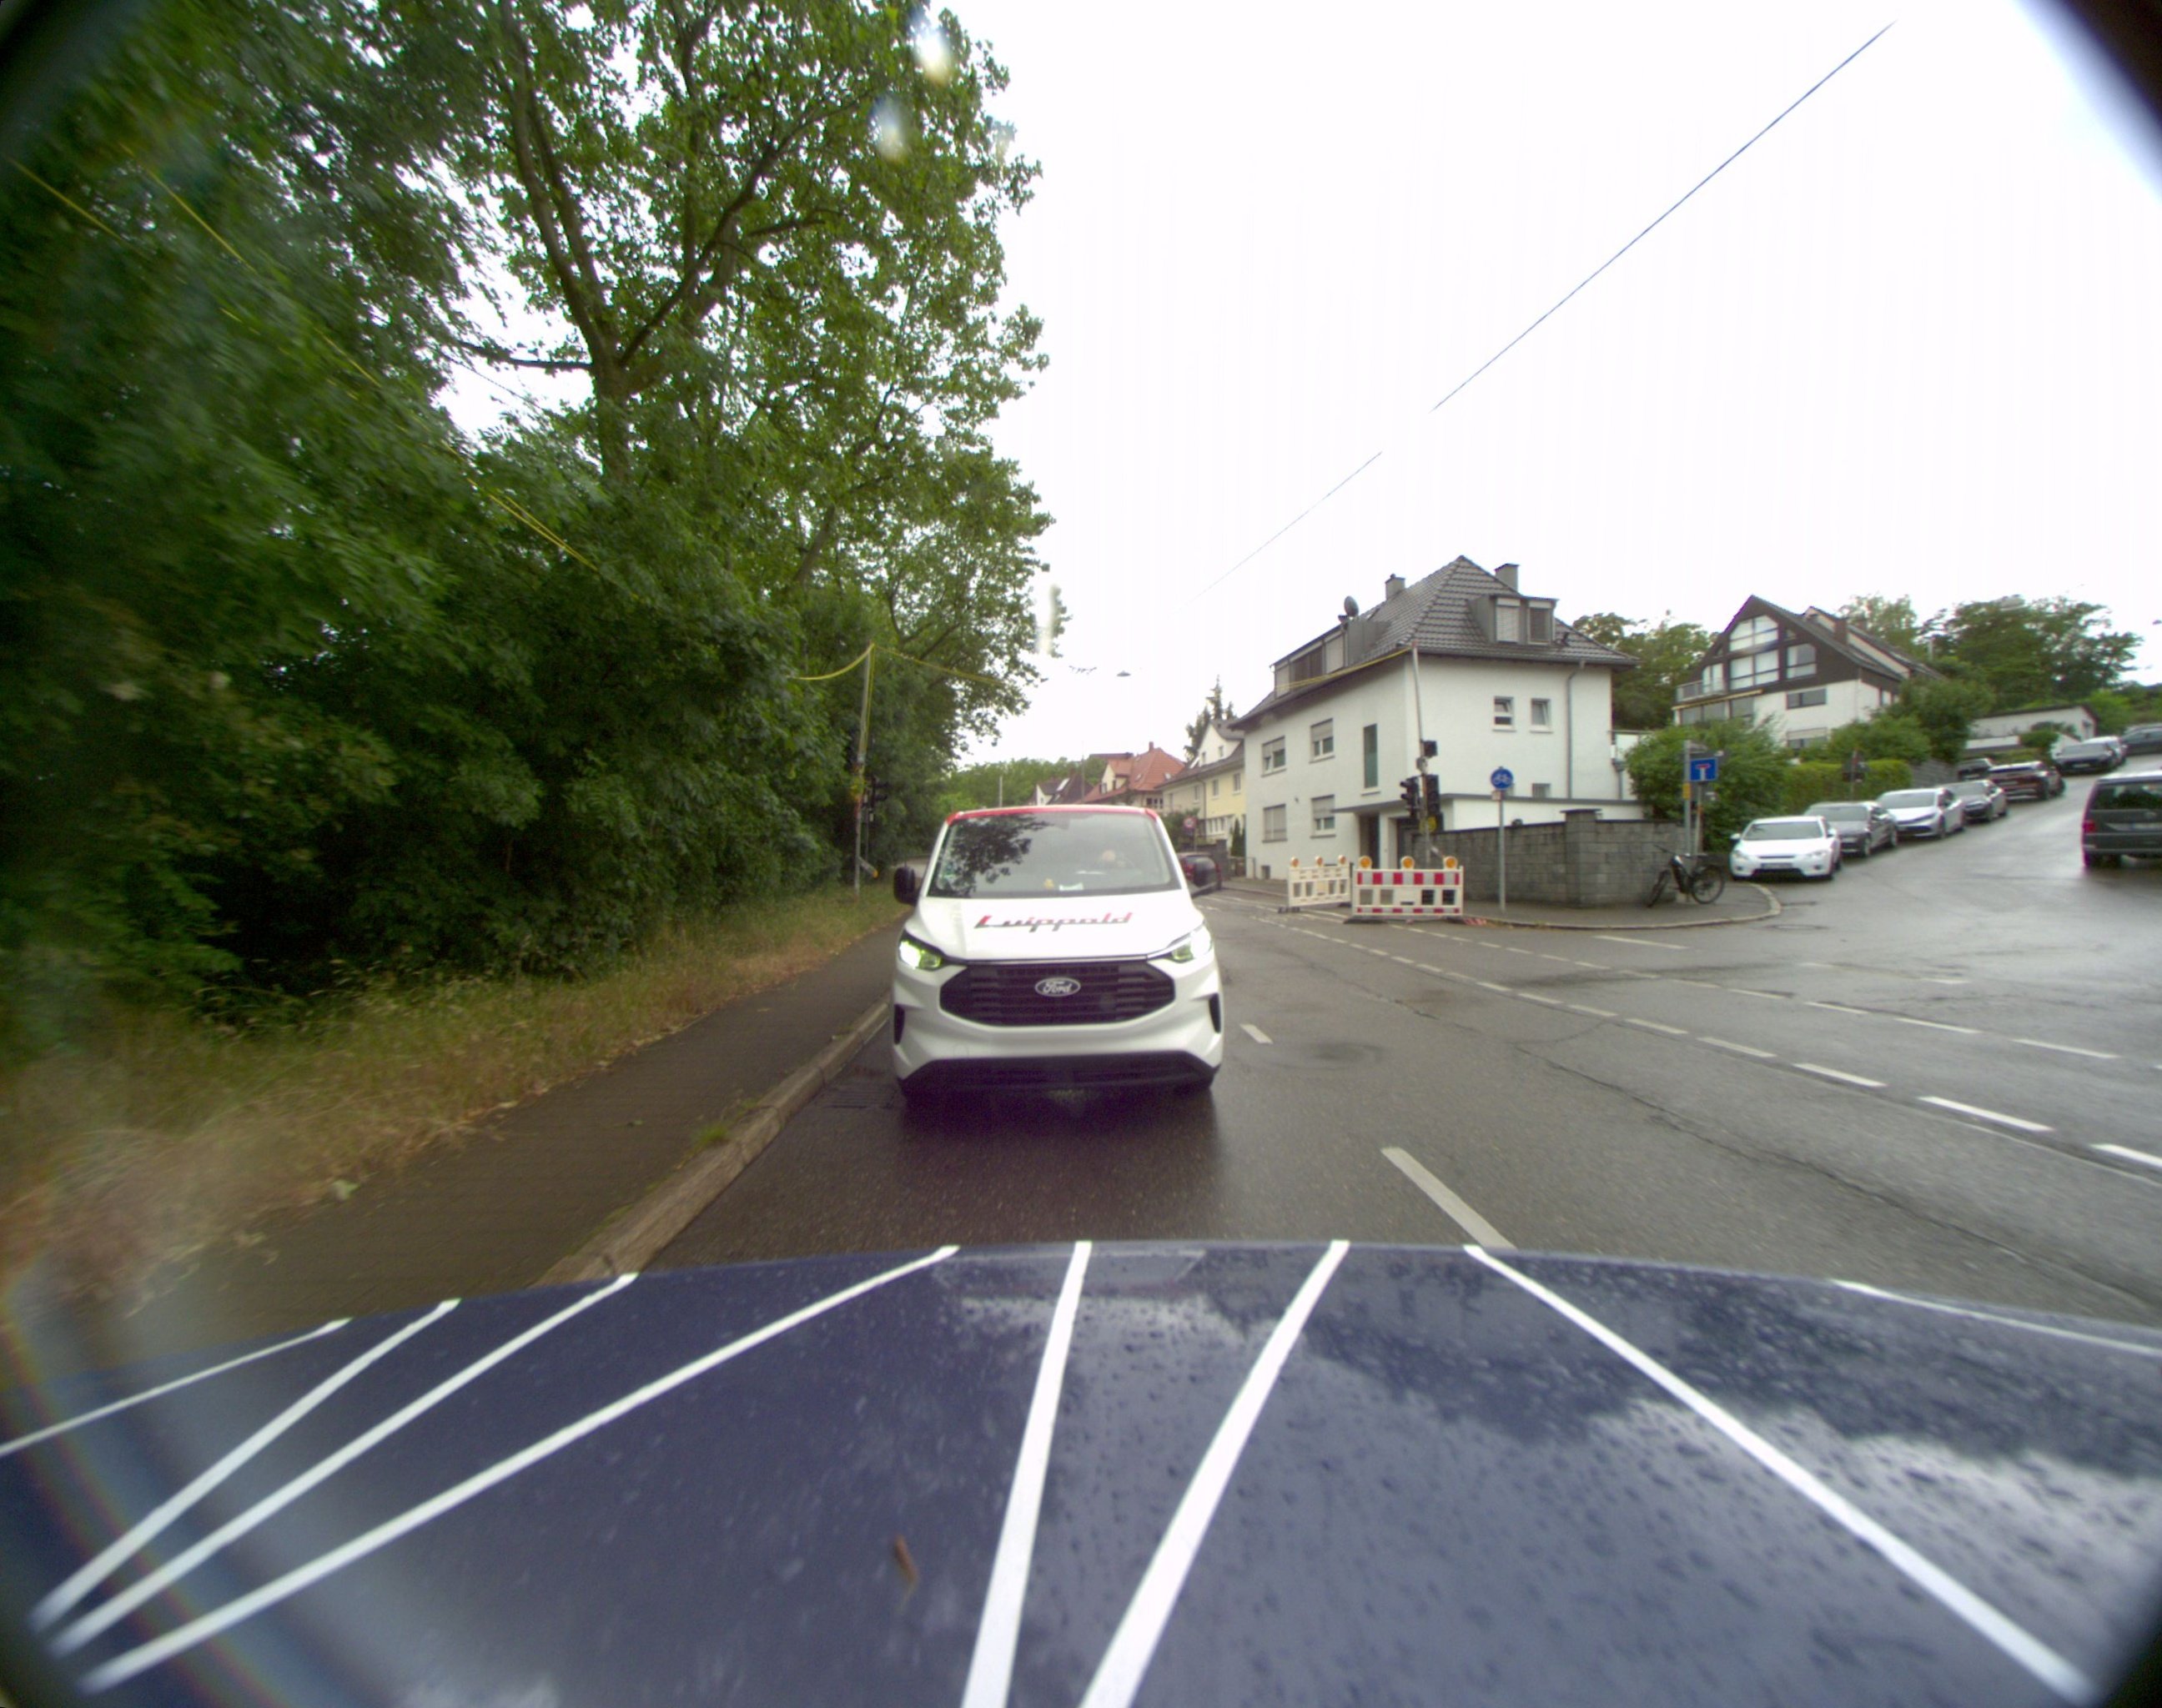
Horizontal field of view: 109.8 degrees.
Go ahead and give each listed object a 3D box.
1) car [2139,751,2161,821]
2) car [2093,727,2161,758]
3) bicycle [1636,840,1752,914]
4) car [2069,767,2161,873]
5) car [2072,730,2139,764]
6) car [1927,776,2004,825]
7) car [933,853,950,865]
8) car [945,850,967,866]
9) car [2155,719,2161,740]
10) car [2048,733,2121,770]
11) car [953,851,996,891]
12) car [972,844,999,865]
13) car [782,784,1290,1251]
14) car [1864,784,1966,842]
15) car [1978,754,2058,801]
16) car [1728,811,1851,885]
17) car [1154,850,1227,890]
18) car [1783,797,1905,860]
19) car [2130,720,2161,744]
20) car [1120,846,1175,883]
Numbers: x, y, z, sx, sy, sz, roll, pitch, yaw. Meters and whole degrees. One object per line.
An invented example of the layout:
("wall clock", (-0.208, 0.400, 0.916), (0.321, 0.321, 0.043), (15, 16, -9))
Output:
("car", (33.043, -2.111, 22.373), (3.416, 1.827, 1.917), (-9, 4, -31))
("car", (68.049, -7.232, 48.779), (1.582, 1.492, 3.607), (-10, 4, -34))
("bicycle", (11.699, 0.423, 14.530), (1.732, 1.304, 0.707), (-2, 1, -7))
("car", (23.591, -0.808, 16.676), (3.801, 1.926, 1.910), (-9, 4, -31))
("car", (60.990, -6.346, 45.217), (3.834, 1.492, 1.733), (-9, 4, -26))
("car", (32.129, -1.946, 27.583), (3.508, 1.383, 1.333), (-8, 4, -32))
("car", (-19.030, 0.701, 103.391), (1.767, 1.519, 3.585), (-3, 1, -17))
("car", (-15.602, 0.468, 94.577), (2.001, 1.850, 4.353), (-3, 1, -17))
("car", (85.988, -9.862, 58.508), (1.624, 1.492, 3.514), (-9, 4, -22))
("car", (54.590, -5.598, 41.330), (3.834, 1.492, 1.733), (-9, 4, -26))
("car", (-4.687, 0.761, 33.532), (1.670, 1.579, 4.004), (-3, -1, -8))
("car", (-9.612, 0.060, 76.300), (2.001, 2.002, 3.994), (-3, 1, -17))
("car", (-0.152, 0.646, 5.769), (2.045, 1.883, 5.208), (-2, 1, 1))
("car", (27.177, -1.334, 24.735), (3.859, 1.458, 1.579), (-8, 4, -32))
("car", (40.367, -3.303, 32.715), (3.988, 1.547, 1.333), (-9, 4, -26))
("car", (17.595, -0.166, 18.833), (3.566, 1.458, 1.746), (-7, 3, -40))
("car", (4.322, 0.648, 30.491), (1.898, 1.485, 3.795), (-1, -1, -8))
("car", (22.453, -0.771, 22.340), (3.859, 1.458, 1.700), (-7, 2, -33))
("car", (81.151, -9.252, 56.455), (1.624, 1.492, 3.513), (-9, 4, -24))
("car", (3.043, 0.515, 35.496), (1.670, 1.579, 4.004), (-3, -1, -8))
